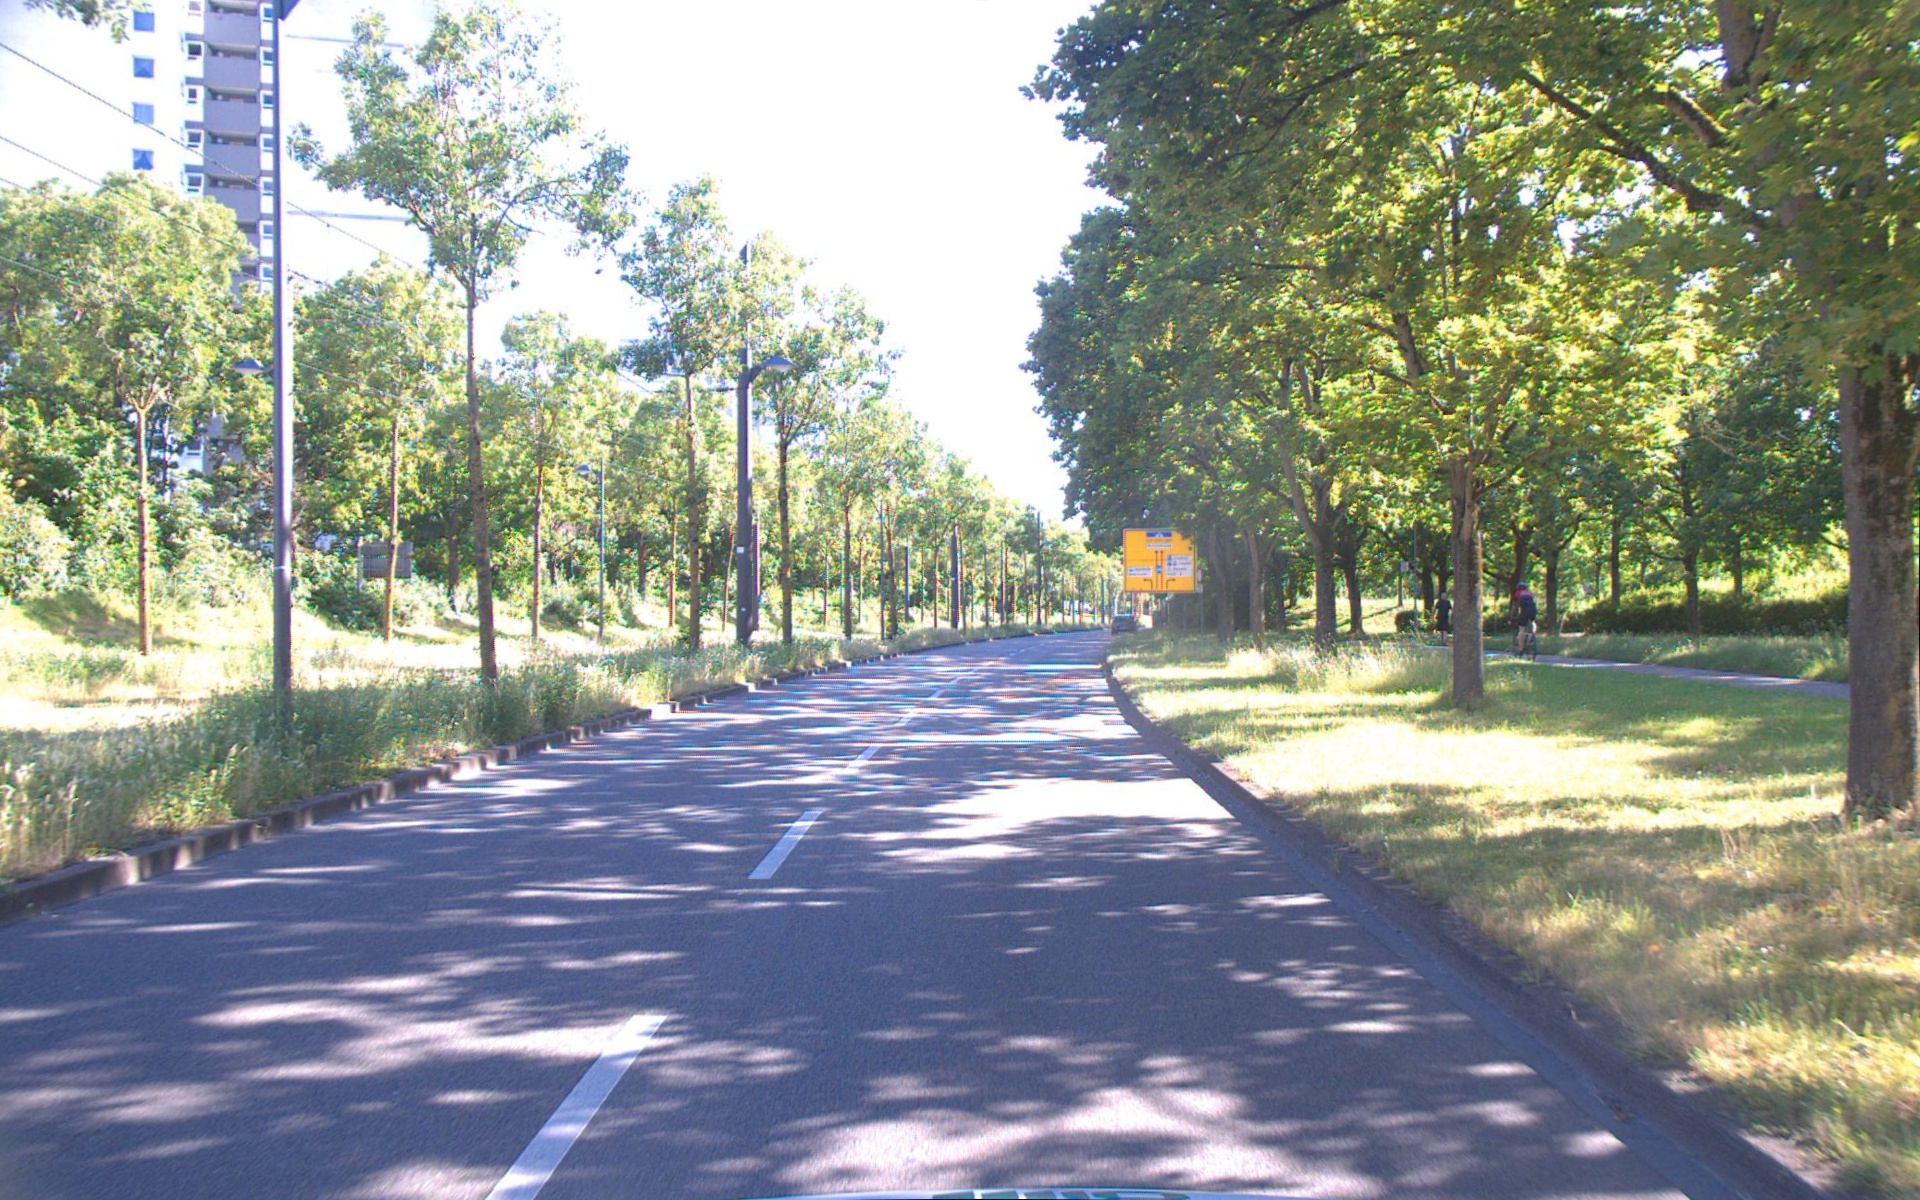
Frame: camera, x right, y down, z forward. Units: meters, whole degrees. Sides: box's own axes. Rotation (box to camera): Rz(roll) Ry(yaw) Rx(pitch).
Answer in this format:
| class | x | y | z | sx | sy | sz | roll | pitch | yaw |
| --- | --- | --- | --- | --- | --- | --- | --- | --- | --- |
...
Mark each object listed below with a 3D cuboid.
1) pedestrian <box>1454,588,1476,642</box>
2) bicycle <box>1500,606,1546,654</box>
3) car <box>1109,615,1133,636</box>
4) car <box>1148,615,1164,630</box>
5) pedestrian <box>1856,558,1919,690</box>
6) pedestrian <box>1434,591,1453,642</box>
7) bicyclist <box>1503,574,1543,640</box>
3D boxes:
| class | x | y | z | sx | sy | sz | roll | pitch | yaw |
| --- | --- | --- | --- | --- | --- | --- | --- | --- | --- |
| pedestrian | 16.282 | 0.481 | 53.290 | 0.622 | 1.721 | 0.844 | -1 | -1 | 15 |
| bicycle | 12.771 | 0.672 | 37.474 | 0.778 | 1.065 | 2.141 | -1 | -1 | 24 |
| car | 11.832 | 1.861 | 121.525 | 1.599 | 1.524 | 4.238 | 0 | 0 | 8 |
| car | 20.710 | 2.387 | 174.773 | 1.599 | 1.524 | 4.238 | 0 | 0 | 8 |
| pedestrian | 13.193 | 0.333 | 23.310 | 0.701 | 1.835 | 0.794 | 0 | -1 | 3 |
| pedestrian | 15.692 | 0.529 | 53.699 | 0.535 | 1.650 | 0.844 | -1 | -1 | 15 |
| bicyclist | 12.759 | 0.155 | 37.471 | 0.774 | 1.476 | 0.844 | -1 | -1 | 24 |
